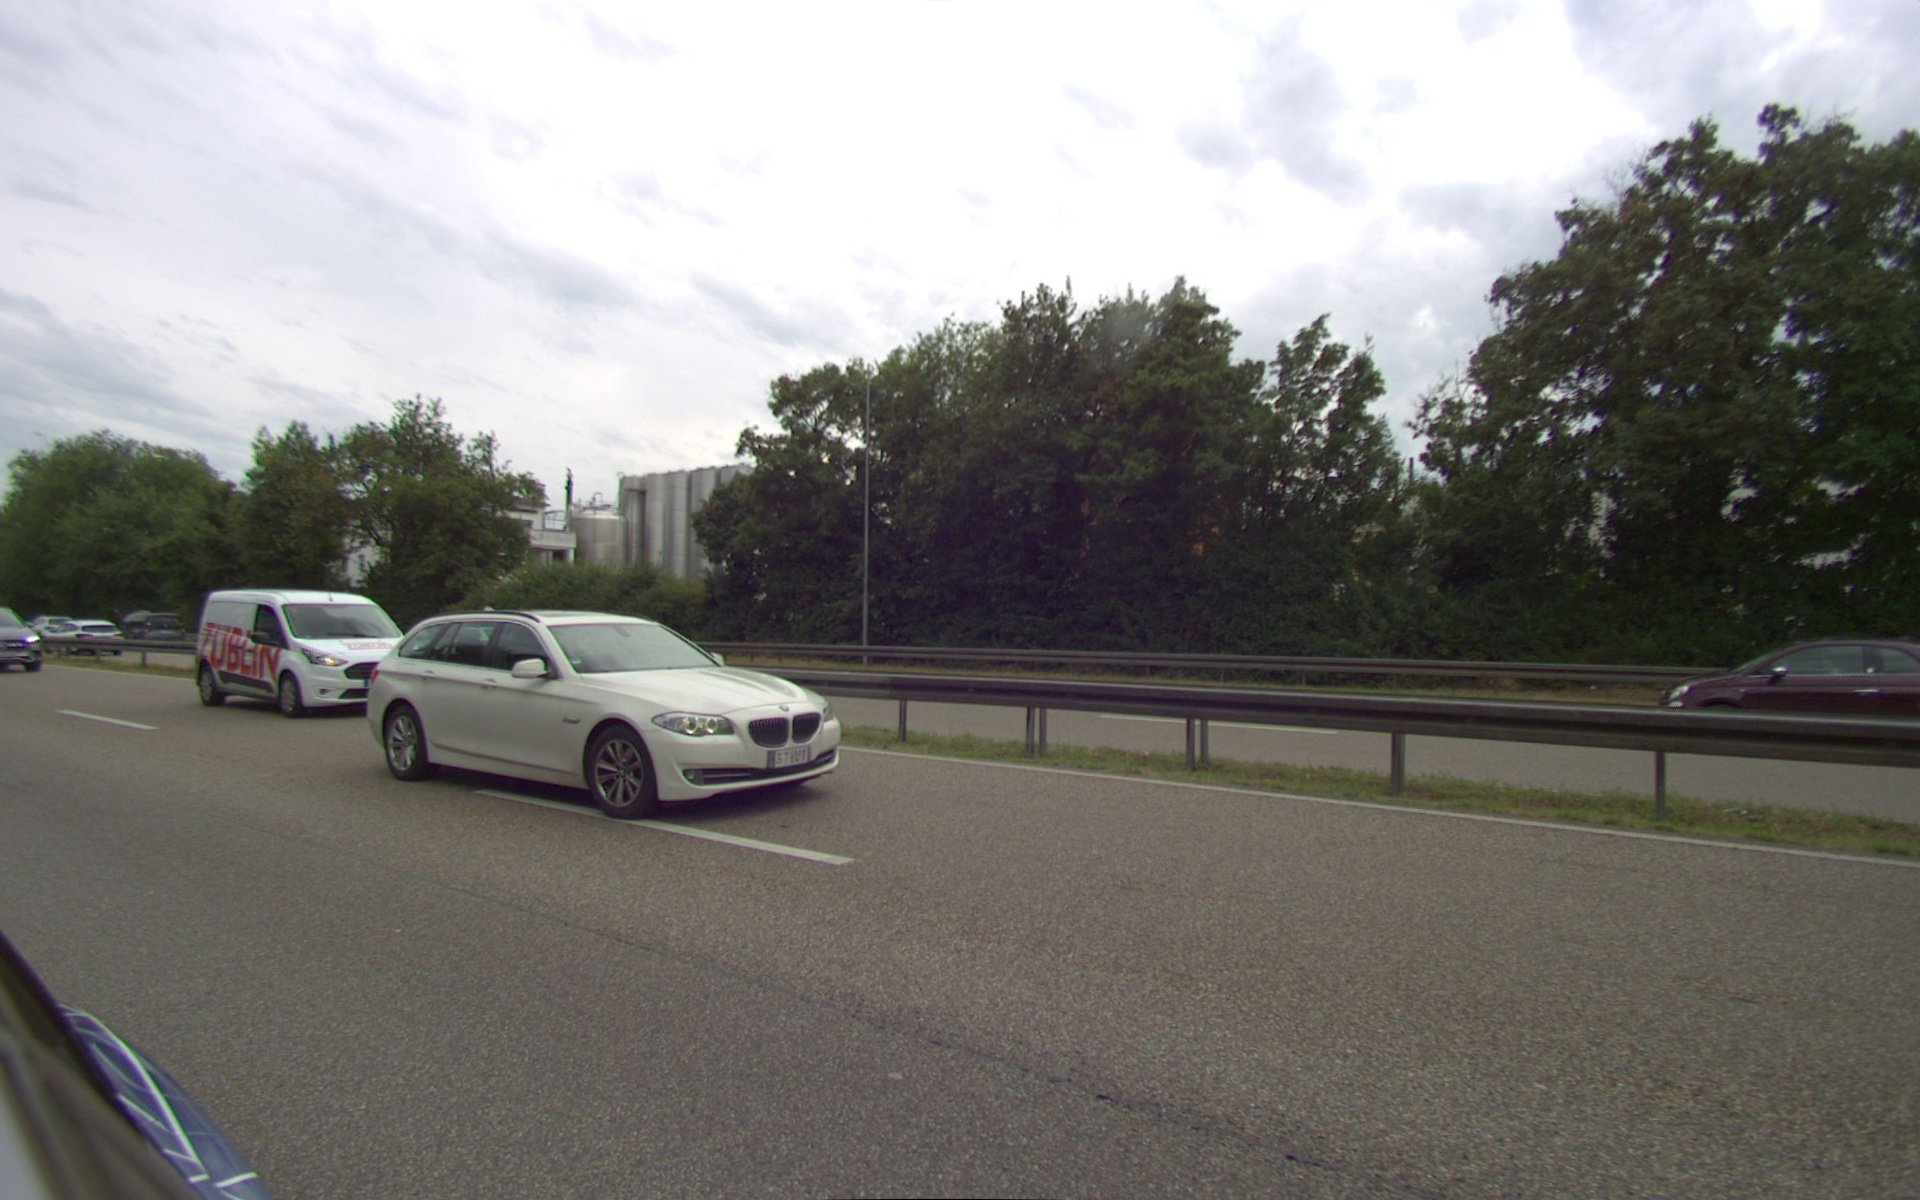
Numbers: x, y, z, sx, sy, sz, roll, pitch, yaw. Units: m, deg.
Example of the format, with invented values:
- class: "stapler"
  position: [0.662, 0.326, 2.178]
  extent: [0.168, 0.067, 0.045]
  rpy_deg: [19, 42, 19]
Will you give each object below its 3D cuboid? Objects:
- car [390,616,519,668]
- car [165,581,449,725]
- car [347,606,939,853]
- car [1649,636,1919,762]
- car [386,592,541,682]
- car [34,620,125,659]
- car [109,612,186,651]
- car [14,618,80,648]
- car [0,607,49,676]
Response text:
- class: "car"
  position: [-16.944, 1.364, 33.828]
  extent: [5.268, 1.604, 1.679]
  rpy_deg: [-1, -2, 37]
- class: "car"
  position: [-9.972, 0.749, 15.324]
  extent: [4.995, 1.864, 1.831]
  rpy_deg: [-1, -2, 35]
- class: "car"
  position: [-2.859, 0.835, 8.452]
  extent: [5.249, 1.475, 2.039]
  rpy_deg: [-1, -2, 37]
- class: "car"
  position: [11.498, 1.247, 13.442]
  extent: [3.823, 1.507, 1.560]
  rpy_deg: [-1, -2, 34]
- class: "car"
  position: [-12.093, 0.861, 24.574]
  extent: [3.989, 2.029, 1.557]
  rpy_deg: [-1, -2, 34]
- class: "car"
  position: [-37.441, 1.656, 43.000]
  extent: [4.389, 1.539, 1.844]
  rpy_deg: [-1, -2, 34]
- class: "car"
  position: [-38.709, 1.485, 48.208]
  extent: [4.266, 1.780, 1.561]
  rpy_deg: [-1, -2, 33]
- class: "car"
  position: [-54.661, 1.945, 60.579]
  extent: [4.749, 1.646, 1.713]
  rpy_deg: [0, 0, 32]
- class: "car"
  position: [-24.492, 1.012, 25.283]
  extent: [3.993, 1.664, 1.827]
  rpy_deg: [-1, -2, 37]
